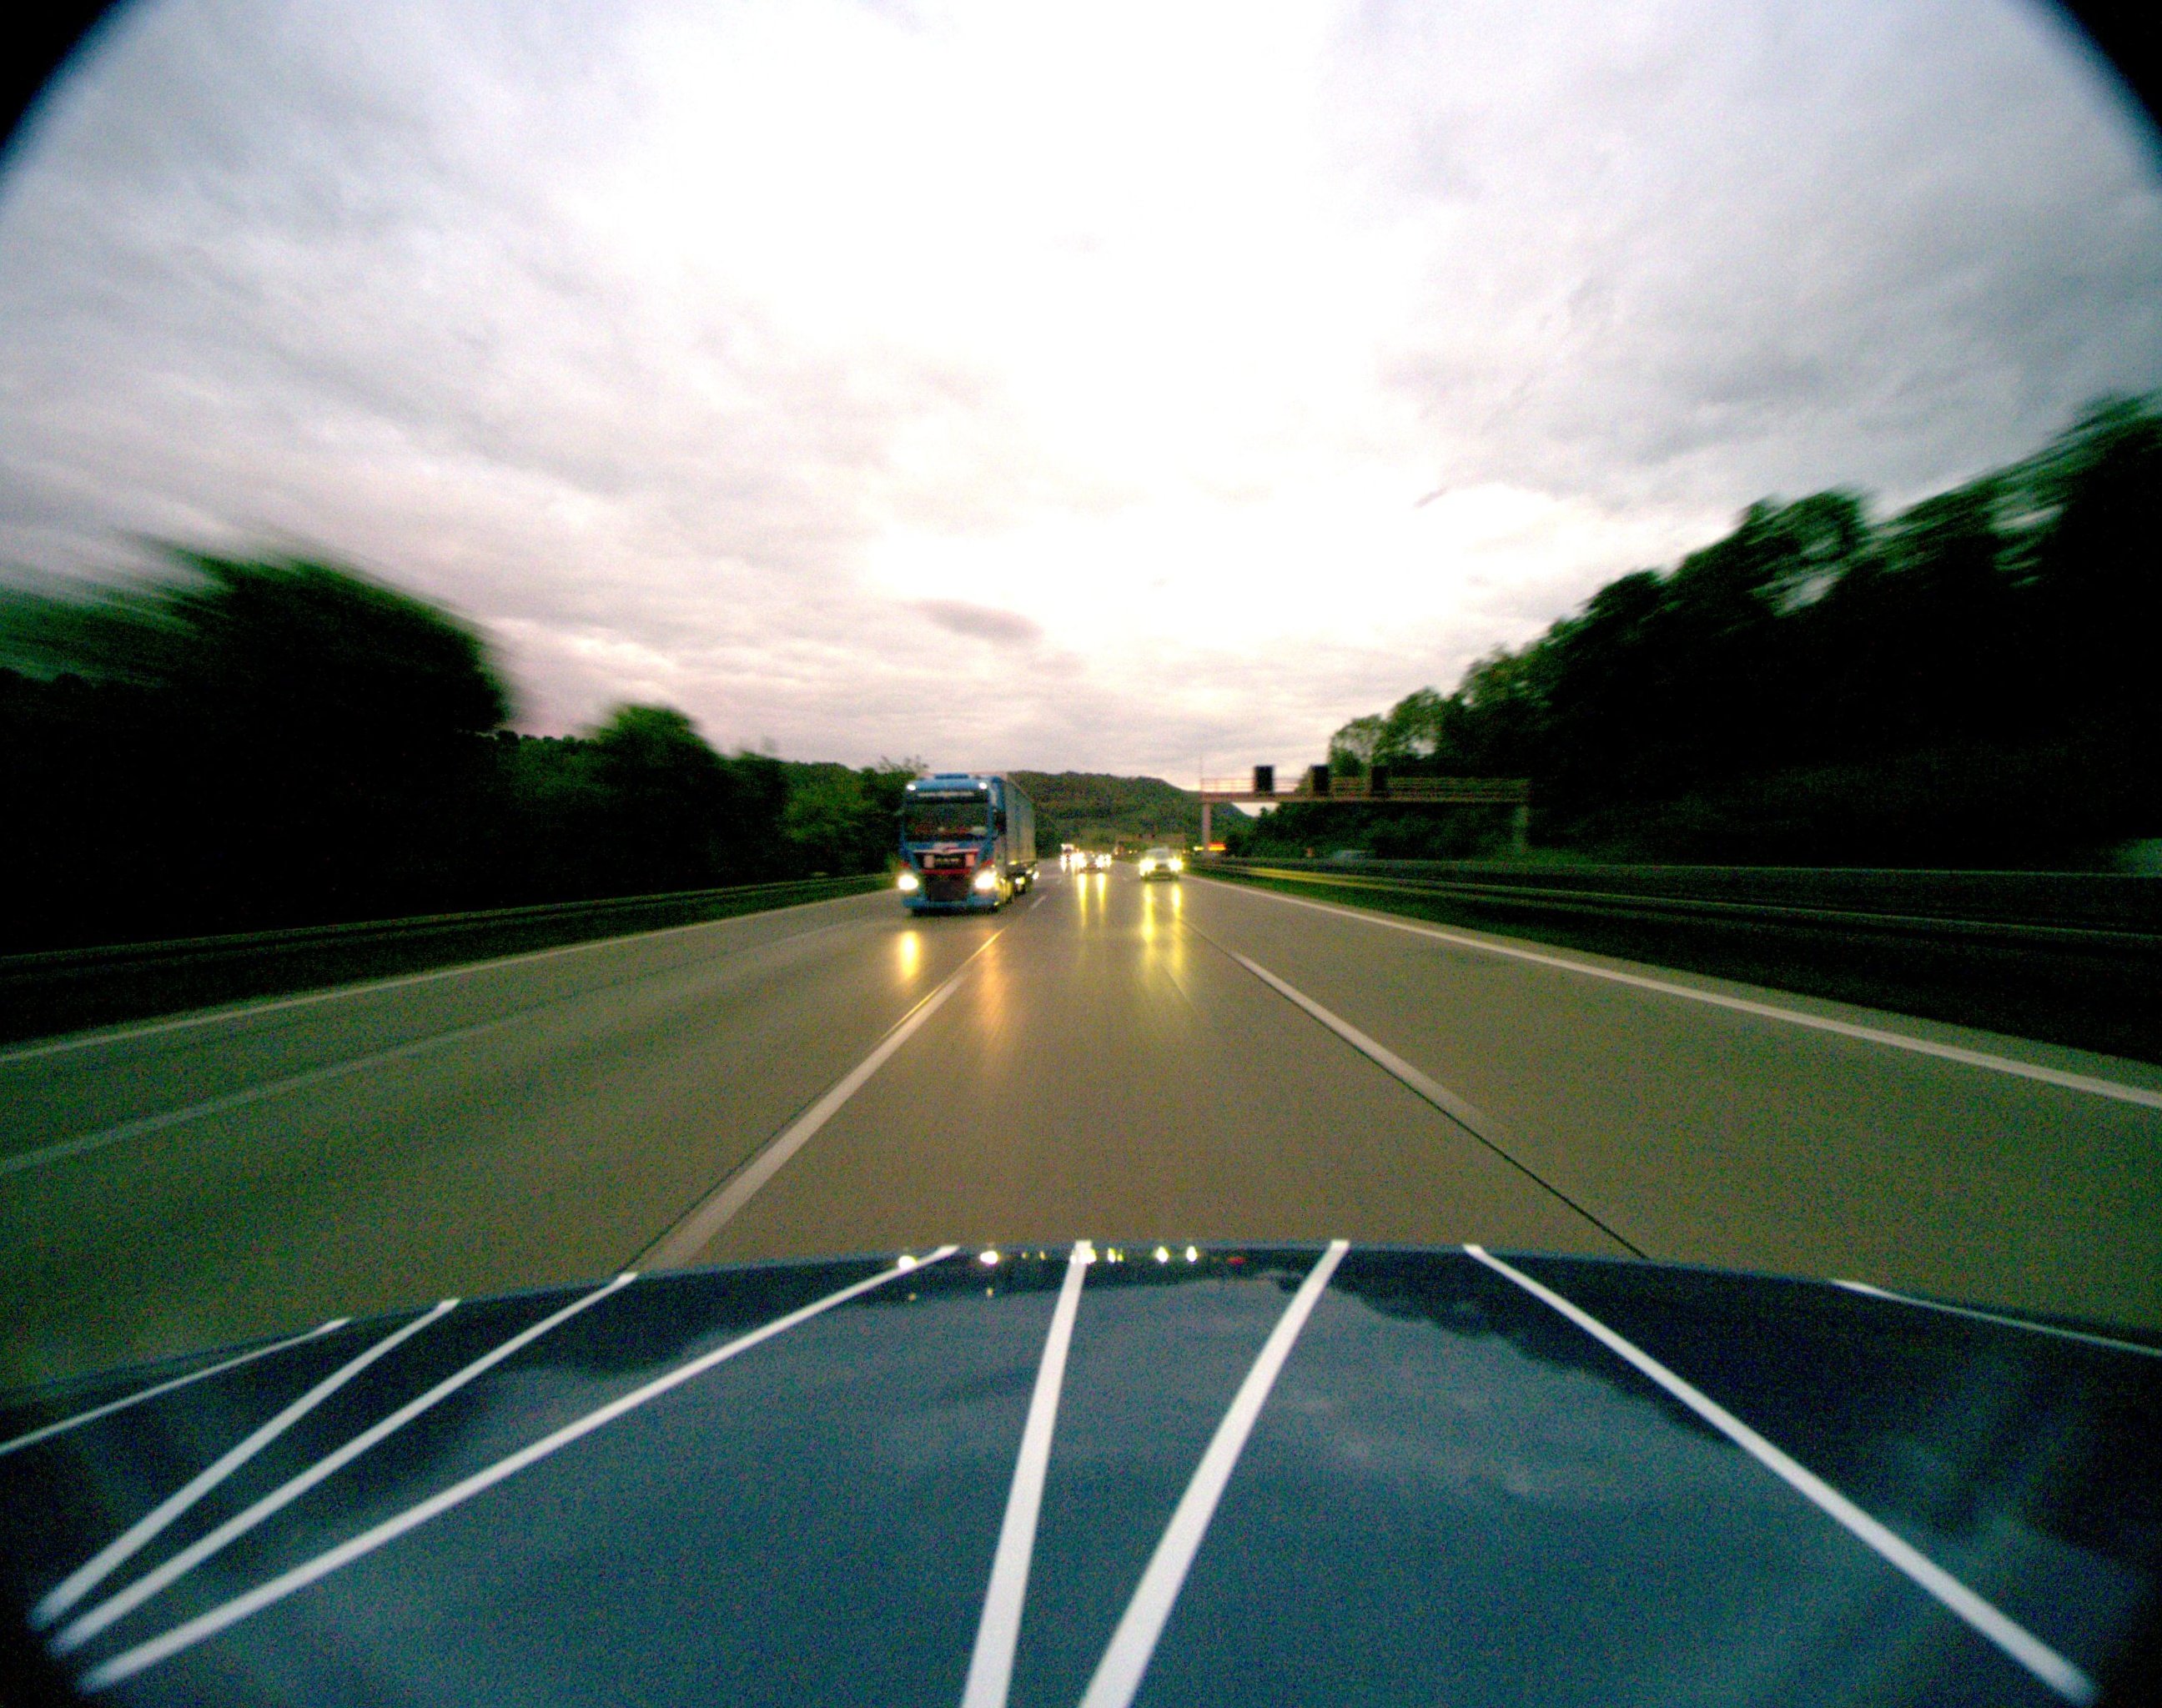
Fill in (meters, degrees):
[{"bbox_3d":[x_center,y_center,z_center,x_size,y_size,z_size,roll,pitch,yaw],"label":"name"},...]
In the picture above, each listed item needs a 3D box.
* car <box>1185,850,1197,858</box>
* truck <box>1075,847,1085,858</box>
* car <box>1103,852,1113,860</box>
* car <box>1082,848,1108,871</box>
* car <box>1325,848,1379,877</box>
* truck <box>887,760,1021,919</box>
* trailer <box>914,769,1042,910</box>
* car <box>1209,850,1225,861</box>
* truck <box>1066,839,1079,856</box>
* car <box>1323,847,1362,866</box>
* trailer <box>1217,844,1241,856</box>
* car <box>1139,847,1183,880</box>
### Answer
[{"bbox_3d":[23.428,-0.008,161.703,1.853,1.724,5.660,-1,1,0],"label":"car"},{"bbox_3d":[-0.378,-0.560,263.159,3.119,3.850,14.162,2,1,1],"label":"truck"},{"bbox_3d":[5.665,0.451,159.736,1.898,1.503,3.999,-1,0,-1],"label":"car"},{"bbox_3d":[1.091,0.394,59.996,1.927,1.674,4.806,0,1,1],"label":"car"},{"bbox_3d":[16.649,0.489,46.839,1.766,1.684,4.458,-1,1,0],"label":"car"},{"bbox_3d":[-3.460,-0.385,22.208,2.743,3.973,5.848,-2,1,1],"label":"truck"},{"bbox_3d":[-3.374,-0.498,29.234,2.779,4.063,13.738,-2,1,1],"label":"trailer"},{"bbox_3d":[22.511,0.231,125.777,1.853,1.629,4.775,-1,1,0],"label":"car"},{"bbox_3d":[-1.871,-1.455,168.153,2.623,3.805,10.385,0,1,1],"label":"truck"},{"bbox_3d":[21.622,0.171,63.039,1.766,1.473,4.390,-1,1,0],"label":"car"},{"bbox_3d":[47.986,-1.328,245.535,3.063,3.657,13.368,-1,0,31],"label":"trailer"},{"bbox_3d":[4.355,0.457,42.319,1.894,1.650,5.639,-1,1,1],"label":"car"}]
